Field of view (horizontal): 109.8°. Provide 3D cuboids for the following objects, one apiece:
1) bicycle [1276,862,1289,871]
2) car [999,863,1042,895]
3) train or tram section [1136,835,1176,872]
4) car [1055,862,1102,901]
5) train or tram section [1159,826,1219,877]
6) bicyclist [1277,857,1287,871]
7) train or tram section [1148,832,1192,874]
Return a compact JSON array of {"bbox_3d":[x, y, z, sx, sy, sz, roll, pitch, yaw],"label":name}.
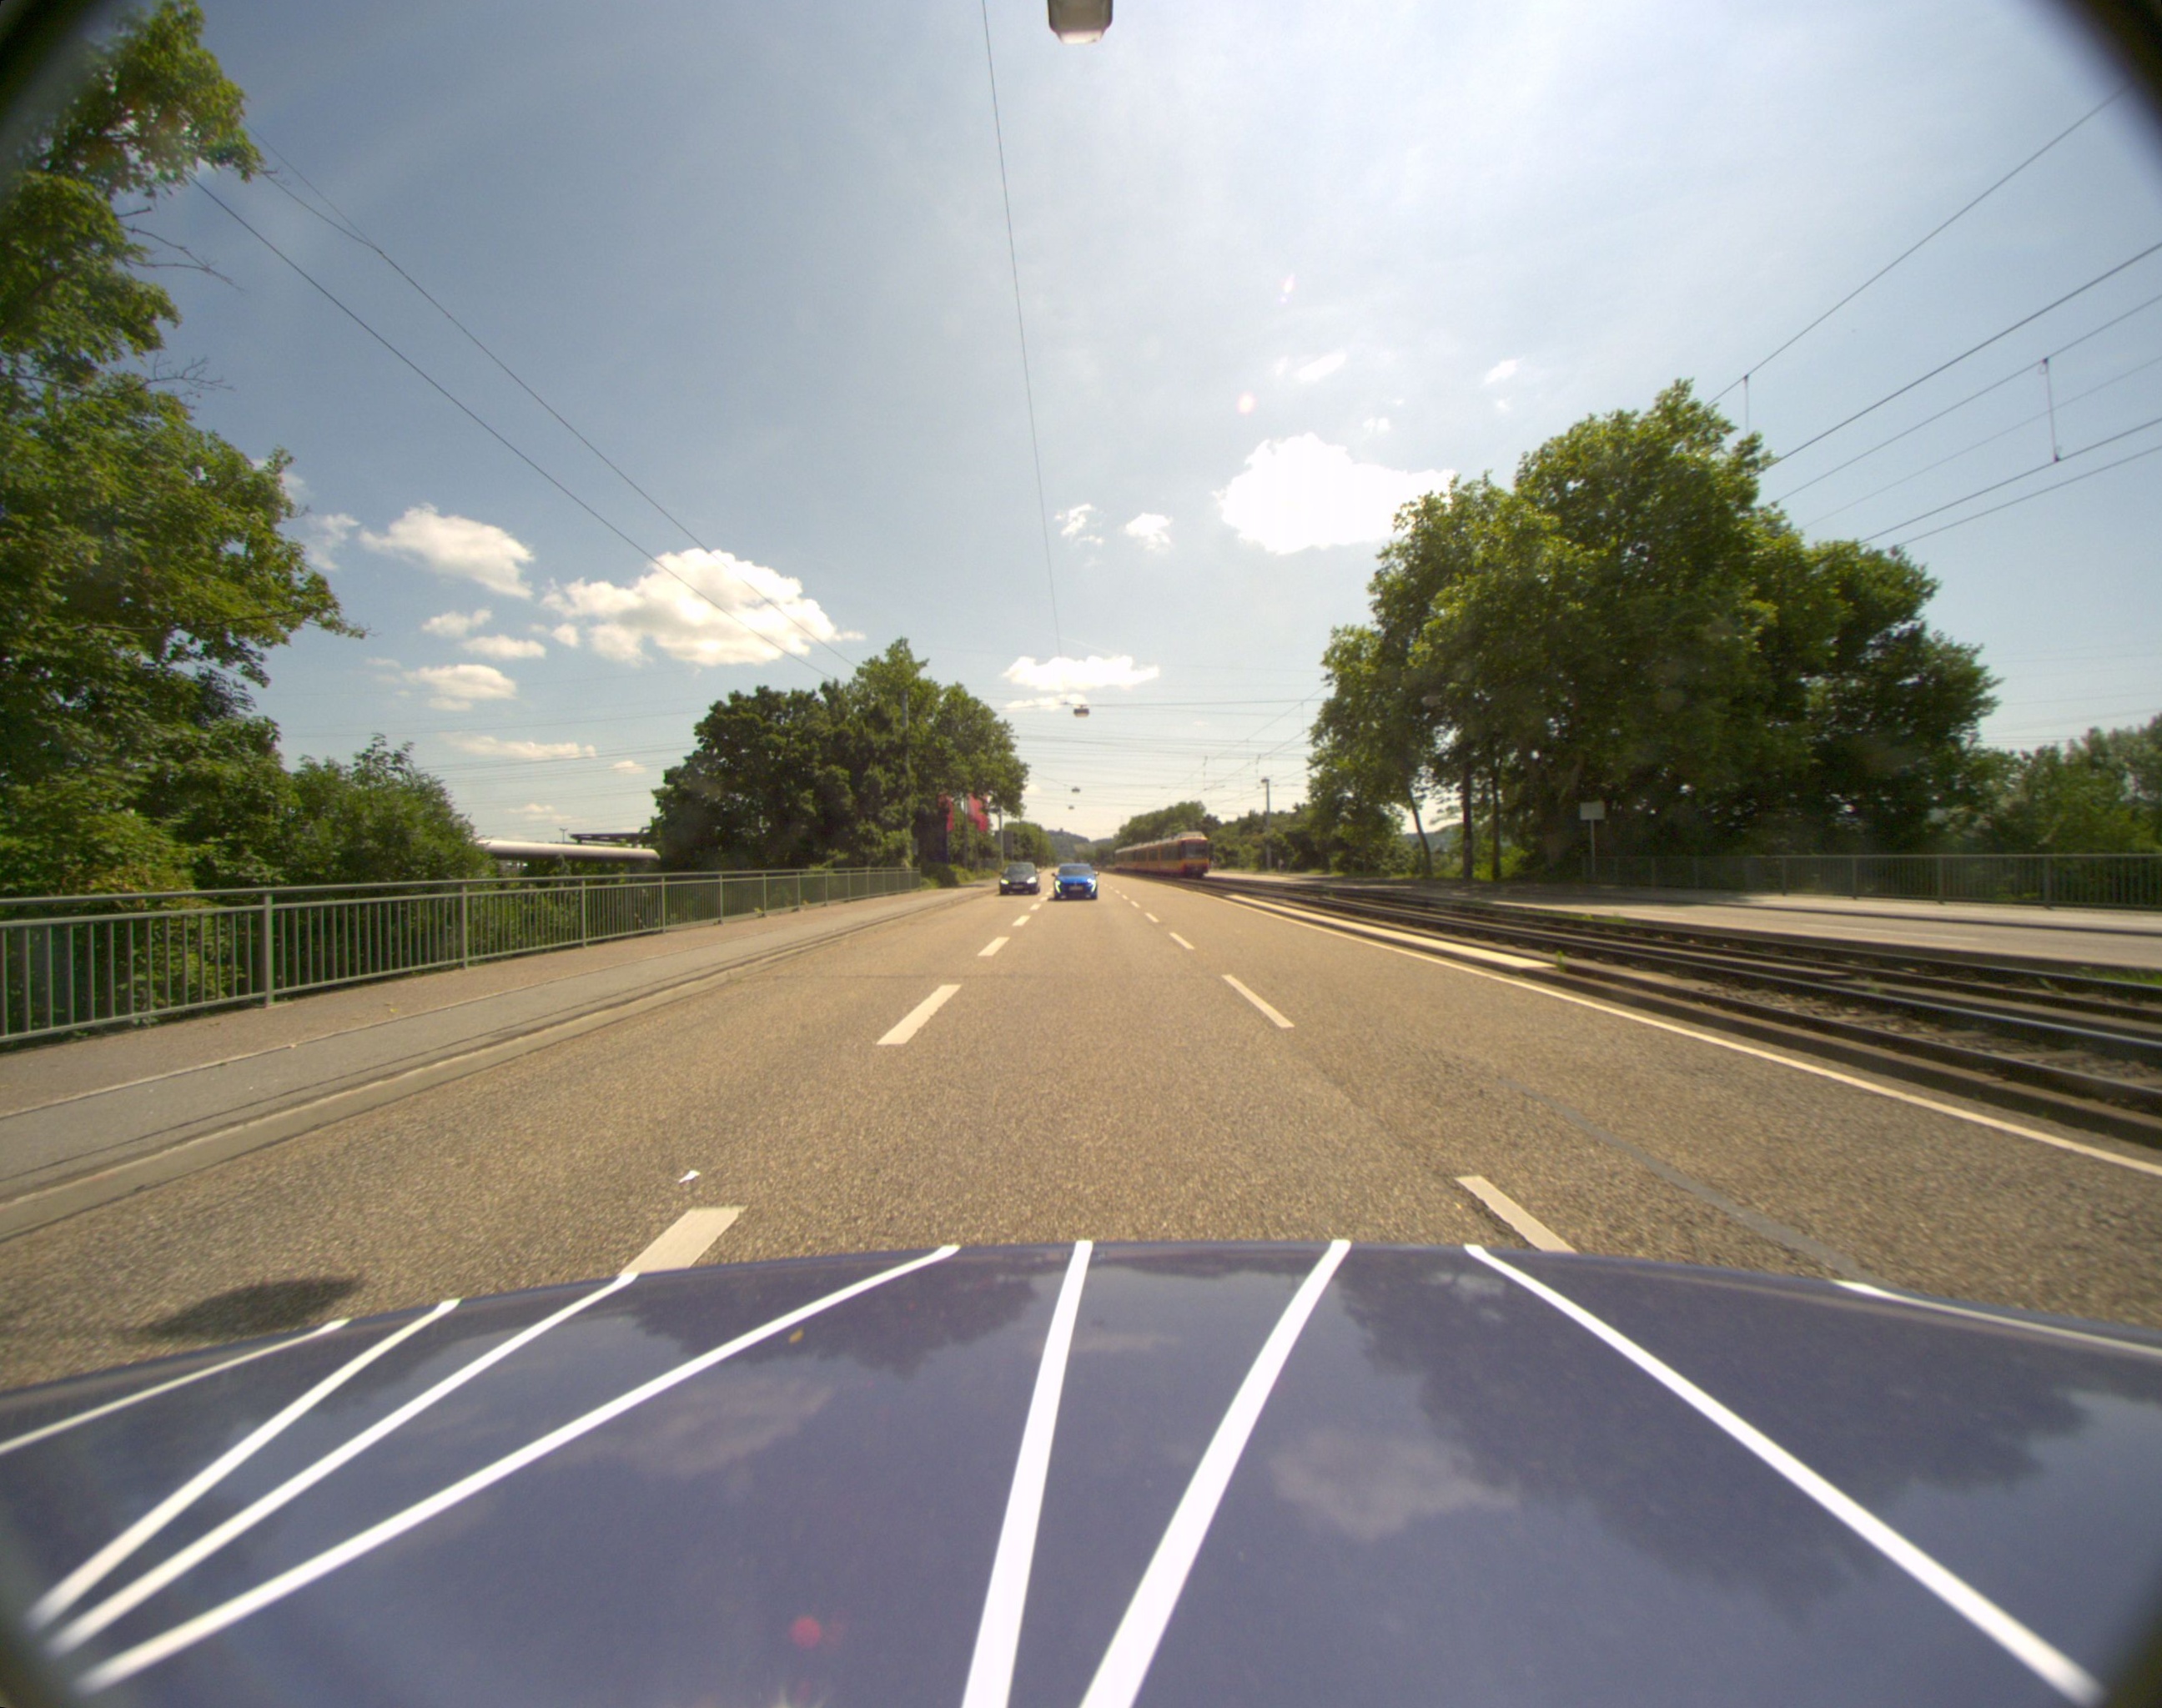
[{"bbox_3d":[21.118,1.338,79.585,0.712,0.912,2.183,-2,0,-1],"label":"bicycle"},{"bbox_3d":[-2.879,1.174,37.055,1.771,1.422,4.000,-2,-1,-1],"label":"car"},{"bbox_3d":[8.838,-0.045,91.523,3.046,4.130,13.479,0,0,-2],"label":"train or tram section"},{"bbox_3d":[-0.121,1.074,31.368,1.771,1.463,4.467,-2,-1,-1],"label":"car"},{"bbox_3d":[9.576,-0.167,68.987,3.046,4.116,13.980,0,0,-2],"label":"train or tram section"},{"bbox_3d":[21.112,1.077,79.744,0.712,1.475,0.918,-2,0,-1],"label":"bicyclist"},{"bbox_3d":[9.236,-0.104,80.314,3.046,4.124,10.231,0,0,-2],"label":"train or tram section"}]
